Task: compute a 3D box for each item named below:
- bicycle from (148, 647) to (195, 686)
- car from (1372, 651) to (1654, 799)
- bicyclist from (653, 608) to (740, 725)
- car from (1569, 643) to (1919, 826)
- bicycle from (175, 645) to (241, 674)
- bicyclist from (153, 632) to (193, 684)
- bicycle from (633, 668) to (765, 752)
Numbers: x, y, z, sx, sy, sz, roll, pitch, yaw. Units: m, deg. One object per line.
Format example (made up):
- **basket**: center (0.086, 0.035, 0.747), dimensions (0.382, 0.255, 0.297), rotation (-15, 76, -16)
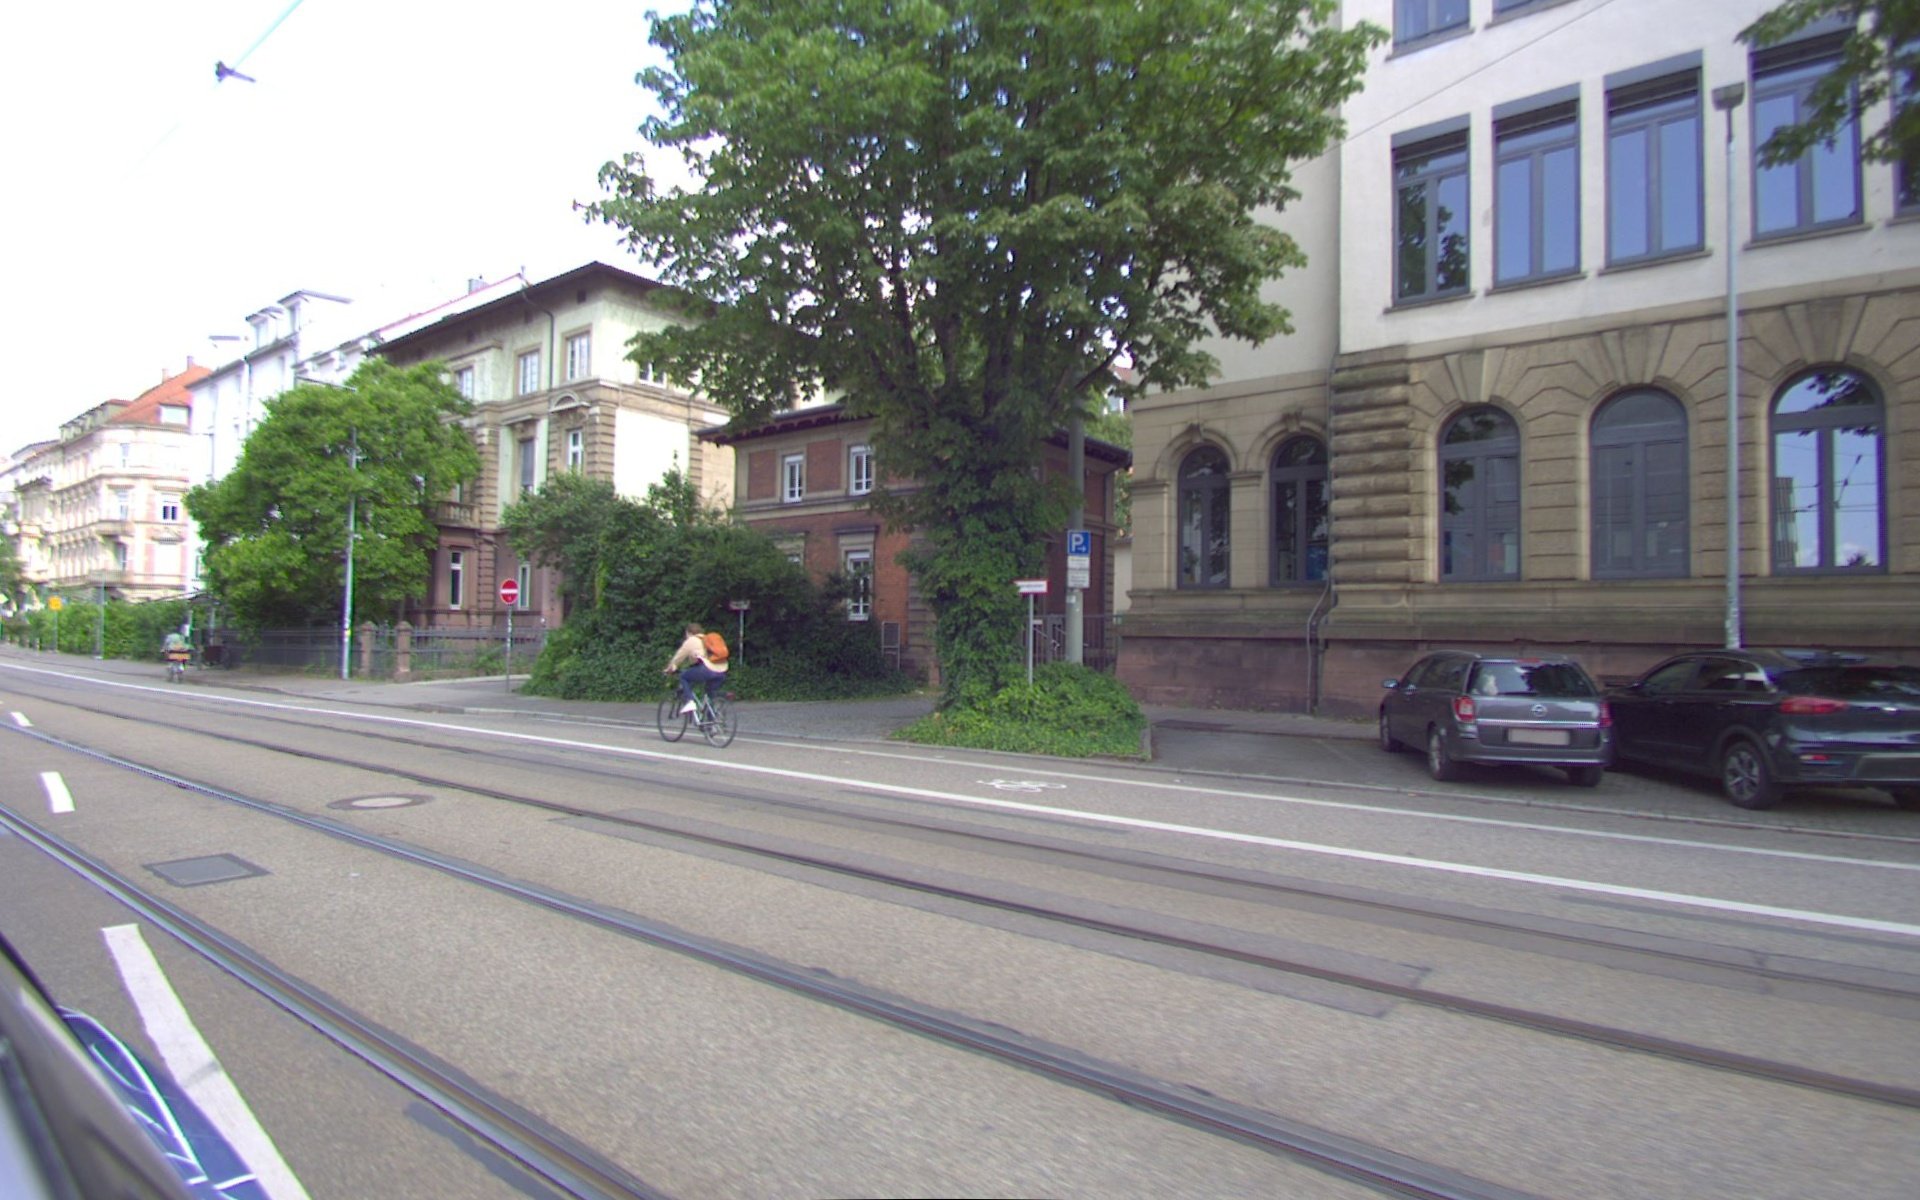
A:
- **bicycle**: center (-23.664, 1.988, 30.364), dimensions (2.021, 1.105, 0.596), rotation (-2, -9, 41)
- **car**: center (6.506, 1.374, 12.483), dimensions (1.774, 1.458, 4.227), rotation (0, -3, 10)
- **bicyclist**: center (-3.592, 0.903, 13.812), dimensions (0.866, 1.531, 0.685), rotation (-1, -5, 35)
- **car**: center (8.701, 1.273, 11.025), dimensions (1.904, 1.562, 4.232), rotation (0, -2, 7)
- **bicycle**: center (-26.806, 2.089, 36.039), dimensions (2.984, 0.915, 1.132), rotation (-1, 0, 38)
- **bicyclist**: center (-23.635, 1.741, 30.391), dimensions (0.881, 1.504, 0.593), rotation (-2, -9, 40)
- **bicycle**: center (-3.557, 1.464, 13.752), dimensions (1.815, 1.025, 0.693), rotation (-1, -4, 35)
